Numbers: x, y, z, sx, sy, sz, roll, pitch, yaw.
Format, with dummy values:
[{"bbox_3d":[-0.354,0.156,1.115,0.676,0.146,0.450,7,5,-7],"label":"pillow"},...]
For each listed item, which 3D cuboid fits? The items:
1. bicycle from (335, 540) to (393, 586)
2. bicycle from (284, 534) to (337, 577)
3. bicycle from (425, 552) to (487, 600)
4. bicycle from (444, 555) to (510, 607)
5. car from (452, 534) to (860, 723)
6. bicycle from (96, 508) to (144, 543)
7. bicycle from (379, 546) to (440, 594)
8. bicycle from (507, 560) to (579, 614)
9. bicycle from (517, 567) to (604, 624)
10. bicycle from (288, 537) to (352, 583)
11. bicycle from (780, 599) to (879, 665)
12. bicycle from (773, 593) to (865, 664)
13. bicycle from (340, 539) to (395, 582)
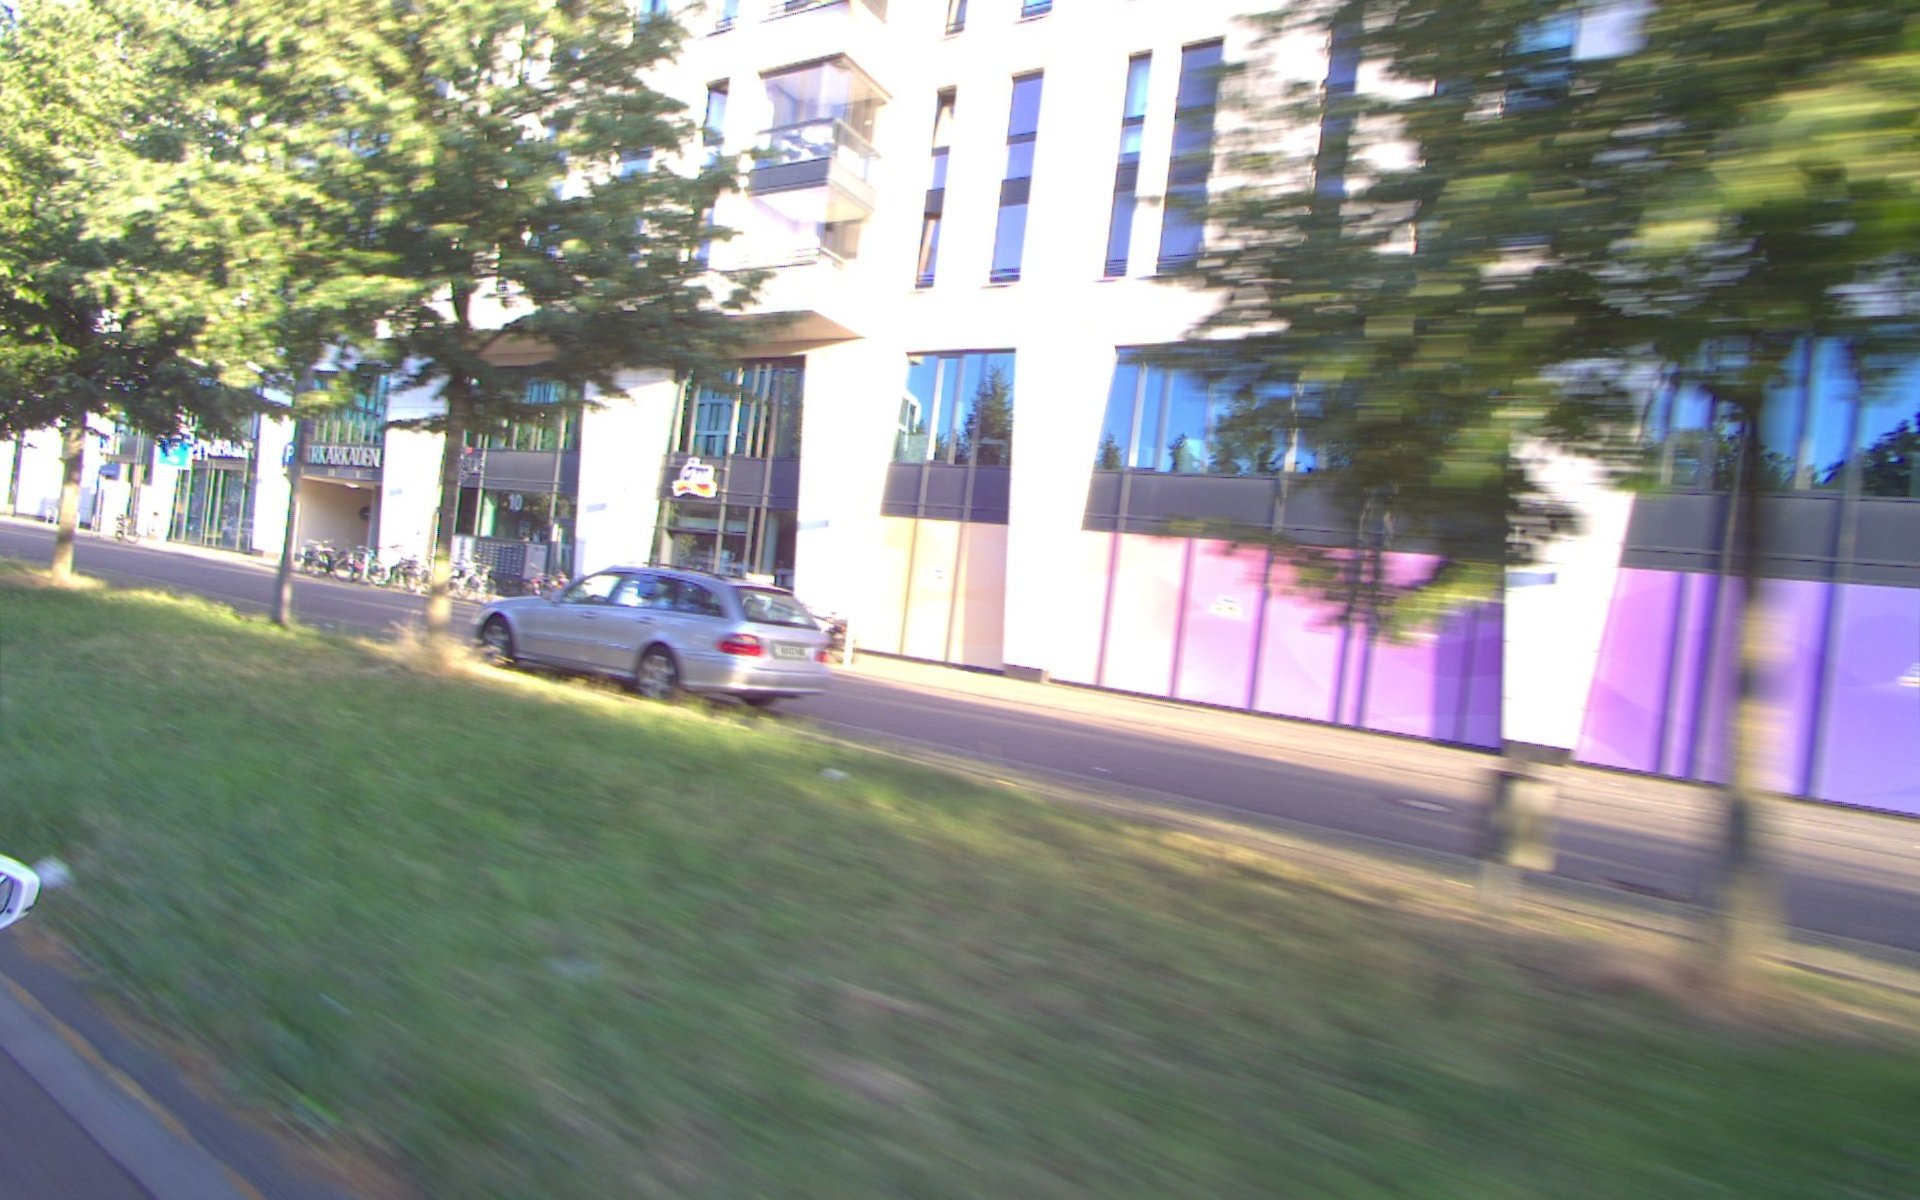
[{"bbox_3d":[-16.773,-1.045,28.304,1.826,1.074,0.534,7,0,32],"label":"bicycle"},{"bbox_3d":[-19.280,-1.337,29.864,1.826,1.075,0.533,7,2,32],"label":"bicycle"},{"bbox_3d":[-13.405,-0.641,26.731,1.826,1.075,0.533,7,2,32],"label":"bicycle"},{"bbox_3d":[-12.126,-0.481,25.241,1.826,1.075,0.533,7,2,32],"label":"bicycle"},{"bbox_3d":[-3.714,0.277,11.992,4.744,1.519,1.812,7,0,31],"label":"car"},{"bbox_3d":[-30.811,-2.737,36.895,2.021,1.051,0.653,7,0,32],"label":"bicycle"},{"bbox_3d":[-14.743,-0.804,26.940,1.826,1.075,0.533,7,2,32],"label":"bicycle"},{"bbox_3d":[-9.896,-0.317,23.842,1.826,1.075,0.533,7,2,32],"label":"bicycle"},{"bbox_3d":[-9.003,-0.104,22.661,1.822,1.075,0.534,7,2,19],"label":"bicycle"},{"bbox_3d":[-17.983,-1.128,28.246,1.748,1.075,0.534,7,2,22],"label":"bicycle"},{"bbox_3d":[-2.621,0.632,20.135,1.822,1.075,0.534,7,2,19],"label":"bicycle"},{"bbox_3d":[-2.791,0.551,19.775,1.751,1.179,0.538,8,2,32],"label":"bicycle"},{"bbox_3d":[-17.253,-1.153,29.296,1.826,1.075,0.533,7,2,32],"label":"bicycle"}]
